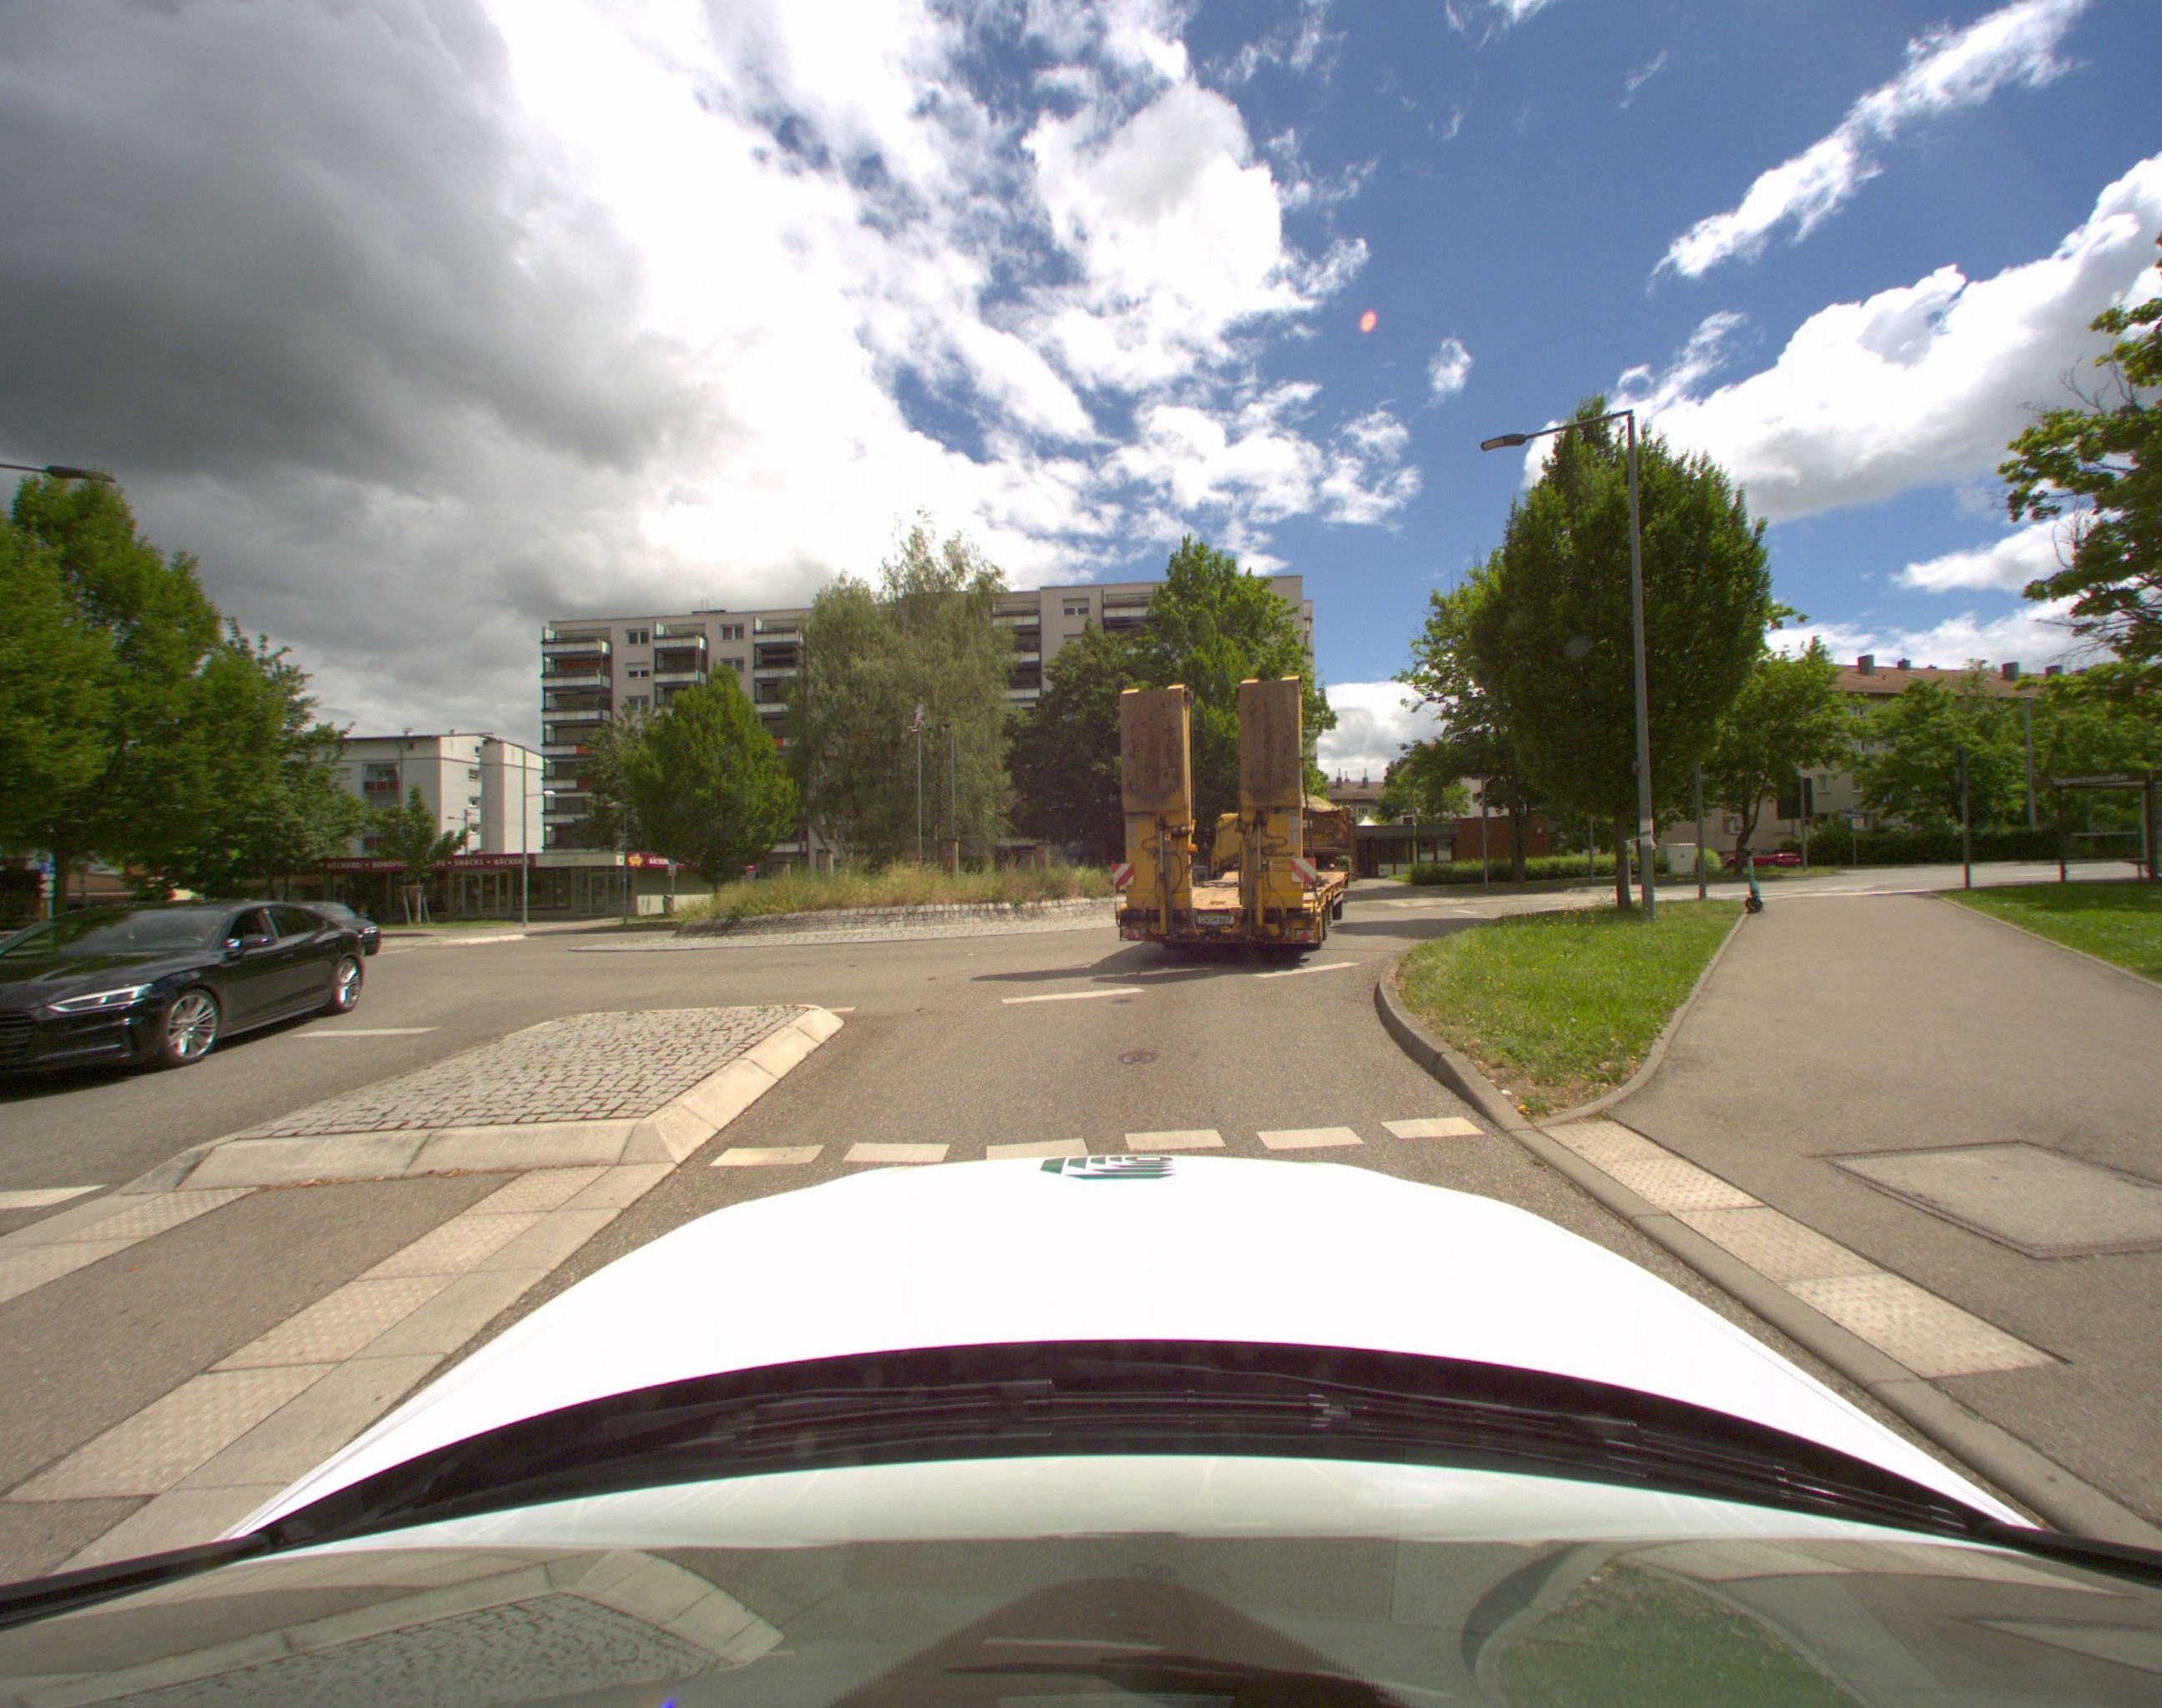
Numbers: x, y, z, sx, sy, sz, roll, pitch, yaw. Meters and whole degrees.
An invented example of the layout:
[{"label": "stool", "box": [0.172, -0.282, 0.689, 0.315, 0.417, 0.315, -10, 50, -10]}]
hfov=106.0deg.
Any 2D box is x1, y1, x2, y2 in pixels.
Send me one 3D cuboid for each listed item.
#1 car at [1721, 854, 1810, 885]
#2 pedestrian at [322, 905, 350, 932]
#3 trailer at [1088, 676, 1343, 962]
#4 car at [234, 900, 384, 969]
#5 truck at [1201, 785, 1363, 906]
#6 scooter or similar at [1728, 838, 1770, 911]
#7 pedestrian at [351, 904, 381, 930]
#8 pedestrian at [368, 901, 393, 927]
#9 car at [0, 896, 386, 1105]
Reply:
[{"label": "car", "box": [43.979, 0.995, 52.444, 2.012, 1.942, 3.986, 0, -1, -10]}, {"label": "pedestrian", "box": [-39.470, 3.419, 43.144, 0.604, 1.325, 0.883, -3, -1, 13]}, {"label": "trailer", "box": [3.243, -0.375, 15.184, 2.840, 3.372, 10.893, 0, -1, 19]}, {"label": "car", "box": [-19.804, 1.984, 20.851, 4.331, 1.455, 1.871, -1, -1, 34]}, {"label": "truck", "box": [5.653, 0.016, 24.677, 2.977, 3.035, 8.485, 0, -3, 1]}, {"label": "scooter or similar", "box": [12.960, 0.375, 15.795, 0.480, 1.343, 1.397, -4, -1, 43]}, {"label": "pedestrian", "box": [-38.477, 3.374, 43.846, 0.816, 1.325, 0.881, 0, -1, 4]}, {"label": "pedestrian", "box": [-38.457, 3.292, 44.708, 0.692, 1.381, 0.722, -3, -1, 11]}, {"label": "car", "box": [-8.755, 1.173, 7.844, 1.826, 1.384, 4.581, -2, -1, -23]}]
